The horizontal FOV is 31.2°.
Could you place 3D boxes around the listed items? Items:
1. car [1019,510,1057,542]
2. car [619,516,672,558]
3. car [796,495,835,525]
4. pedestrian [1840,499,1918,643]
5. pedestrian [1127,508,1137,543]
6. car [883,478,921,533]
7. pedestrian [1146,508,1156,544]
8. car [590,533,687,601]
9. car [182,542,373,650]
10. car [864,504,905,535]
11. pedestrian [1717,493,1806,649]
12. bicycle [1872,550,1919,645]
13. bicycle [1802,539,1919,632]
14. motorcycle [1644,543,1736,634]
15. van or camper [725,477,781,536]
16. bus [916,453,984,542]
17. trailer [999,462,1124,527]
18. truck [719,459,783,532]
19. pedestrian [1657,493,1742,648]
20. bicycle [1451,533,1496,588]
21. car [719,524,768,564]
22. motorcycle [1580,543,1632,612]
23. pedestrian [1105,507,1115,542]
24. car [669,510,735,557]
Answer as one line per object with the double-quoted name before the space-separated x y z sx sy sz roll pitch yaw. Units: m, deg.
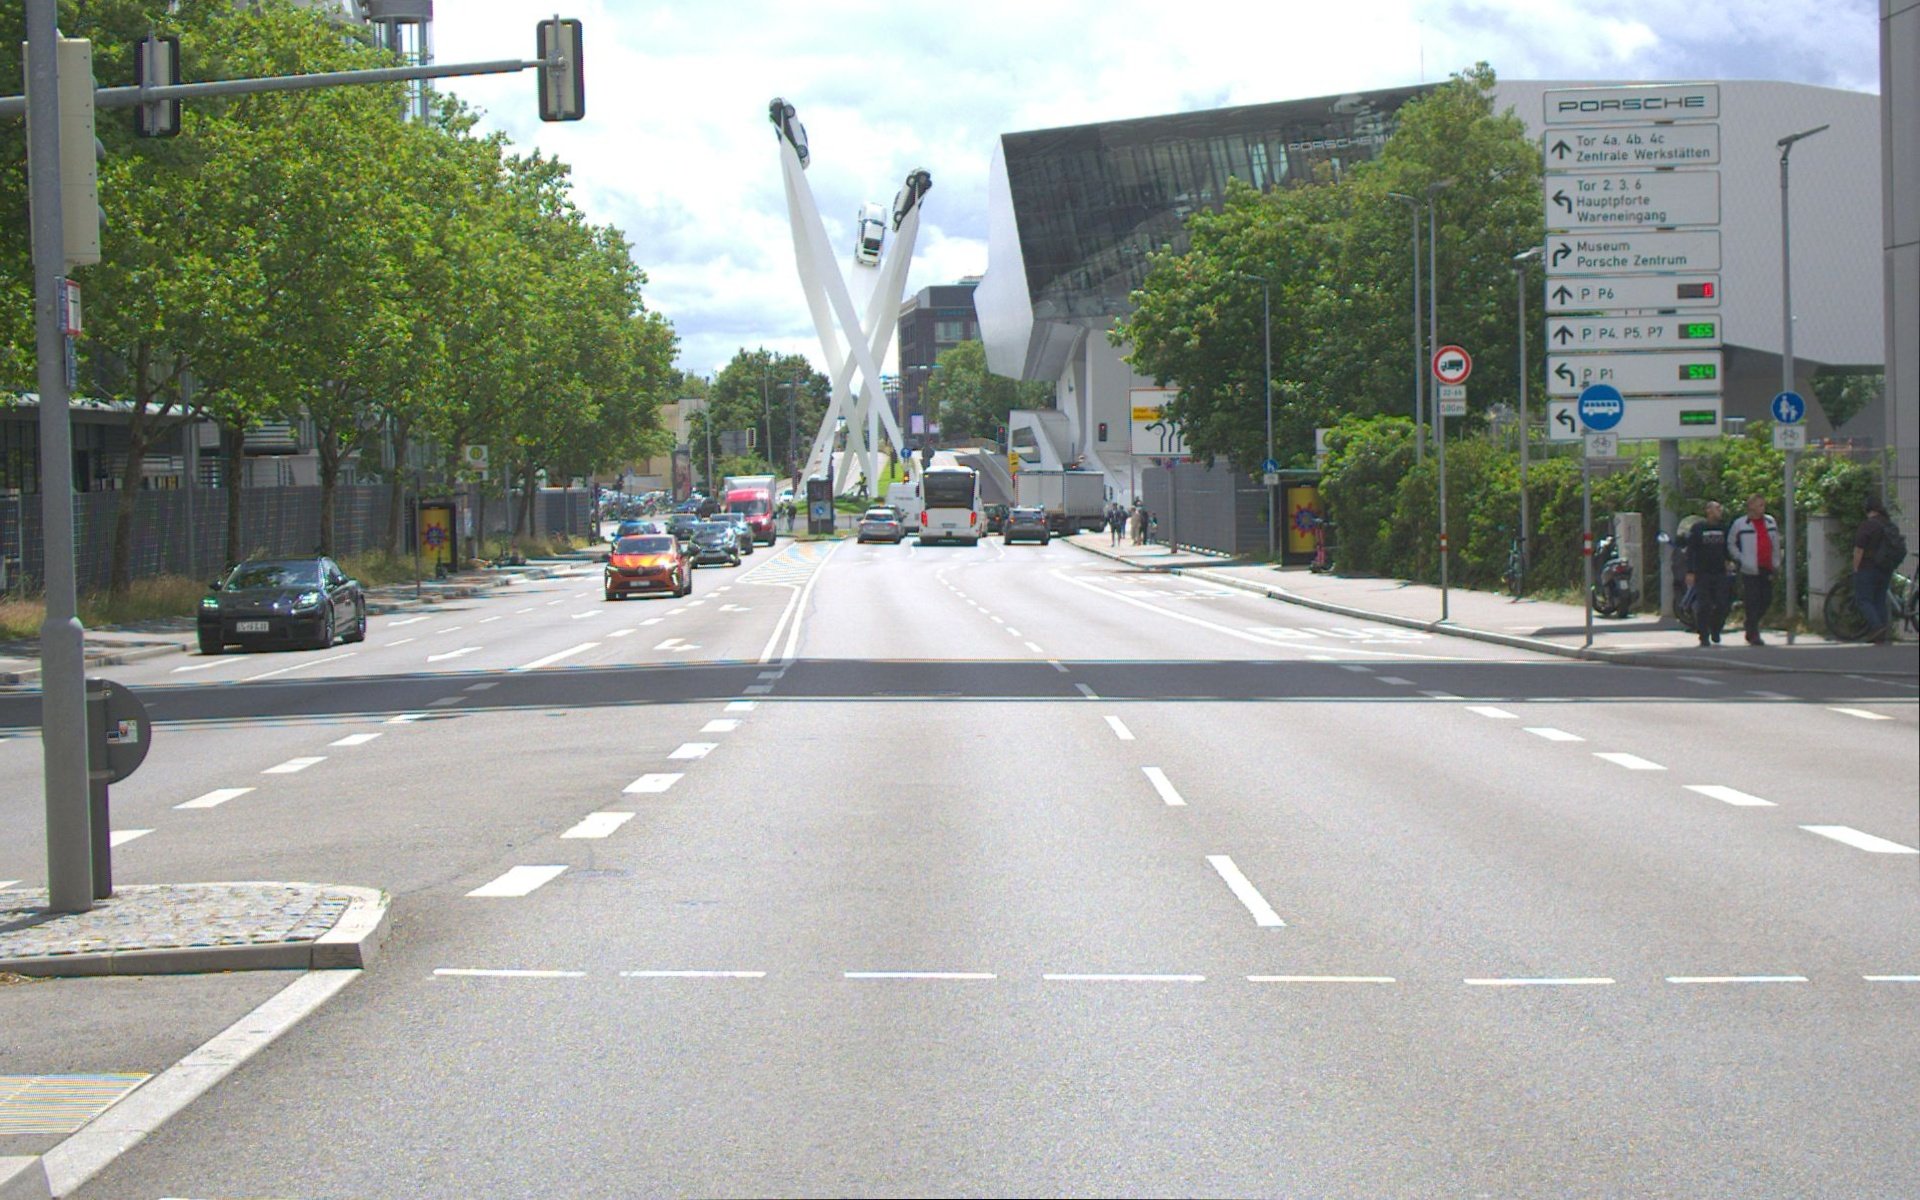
"car" 3.314 -3.160 146.238 1.557 1.269 3.701 -3 1 1
"car" -11.821 -2.381 129.393 1.797 1.568 4.001 0 1 -2
"car" -6.536 -4.066 155.652 1.557 1.269 3.701 -3 1 0
"pedestrian" 10.559 -0.337 39.512 0.533 1.635 0.658 1 0 -29
"pedestrian" 6.846 -2.966 136.789 0.386 1.416 0.423 1 0 0
"car" -2.895 -4.698 171.205 1.843 2.614 4.000 1 1 -2
"pedestrian" 7.663 -2.960 137.838 0.386 1.416 0.423 1 0 0
"car" -7.216 -0.769 77.531 1.769 1.415 3.701 -3 1 0
"car" -10.462 -0.099 53.025 1.917 1.483 4.772 -3 1 0
"car" -3.248 -3.473 148.422 1.557 1.269 3.701 -3 1 1
"pedestrian" 9.448 -0.344 40.546 0.691 1.787 0.712 -3 1 -16
"bicycle" 11.659 -0.018 39.532 2.222 1.083 0.476 1 1 35
"bicycle" 11.168 -0.175 40.862 2.222 1.083 0.476 1 1 35
"motorcycle" 9.544 -0.165 45.016 0.418 1.162 1.957 1 1 -11
"van or camper" -8.857 -4.004 147.783 2.047 2.458 5.595 0 1 0
"bus" -0.415 -4.348 147.490 2.787 3.673 6.943 1 1 0
"trailer" 5.170 -5.257 172.090 3.322 2.984 10.366 1 1 19
"truck" -10.010 -4.991 165.221 2.591 3.312 7.079 1 1 0
"pedestrian" 8.729 -0.352 40.590 0.641 1.787 0.712 -3 1 -16
"bicycle" 9.738 -0.744 65.257 0.418 1.019 1.913 1 1 -5
"car" -8.250 -2.136 131.022 1.557 1.443 3.773 -3 1 0
"motorcycle" 9.764 -0.345 51.999 0.457 1.019 1.912 1 1 1
"pedestrian" 6.014 -3.025 137.832 0.386 1.416 0.423 1 0 0
"car" -8.295 -2.162 110.846 1.769 1.415 3.701 -3 1 0
